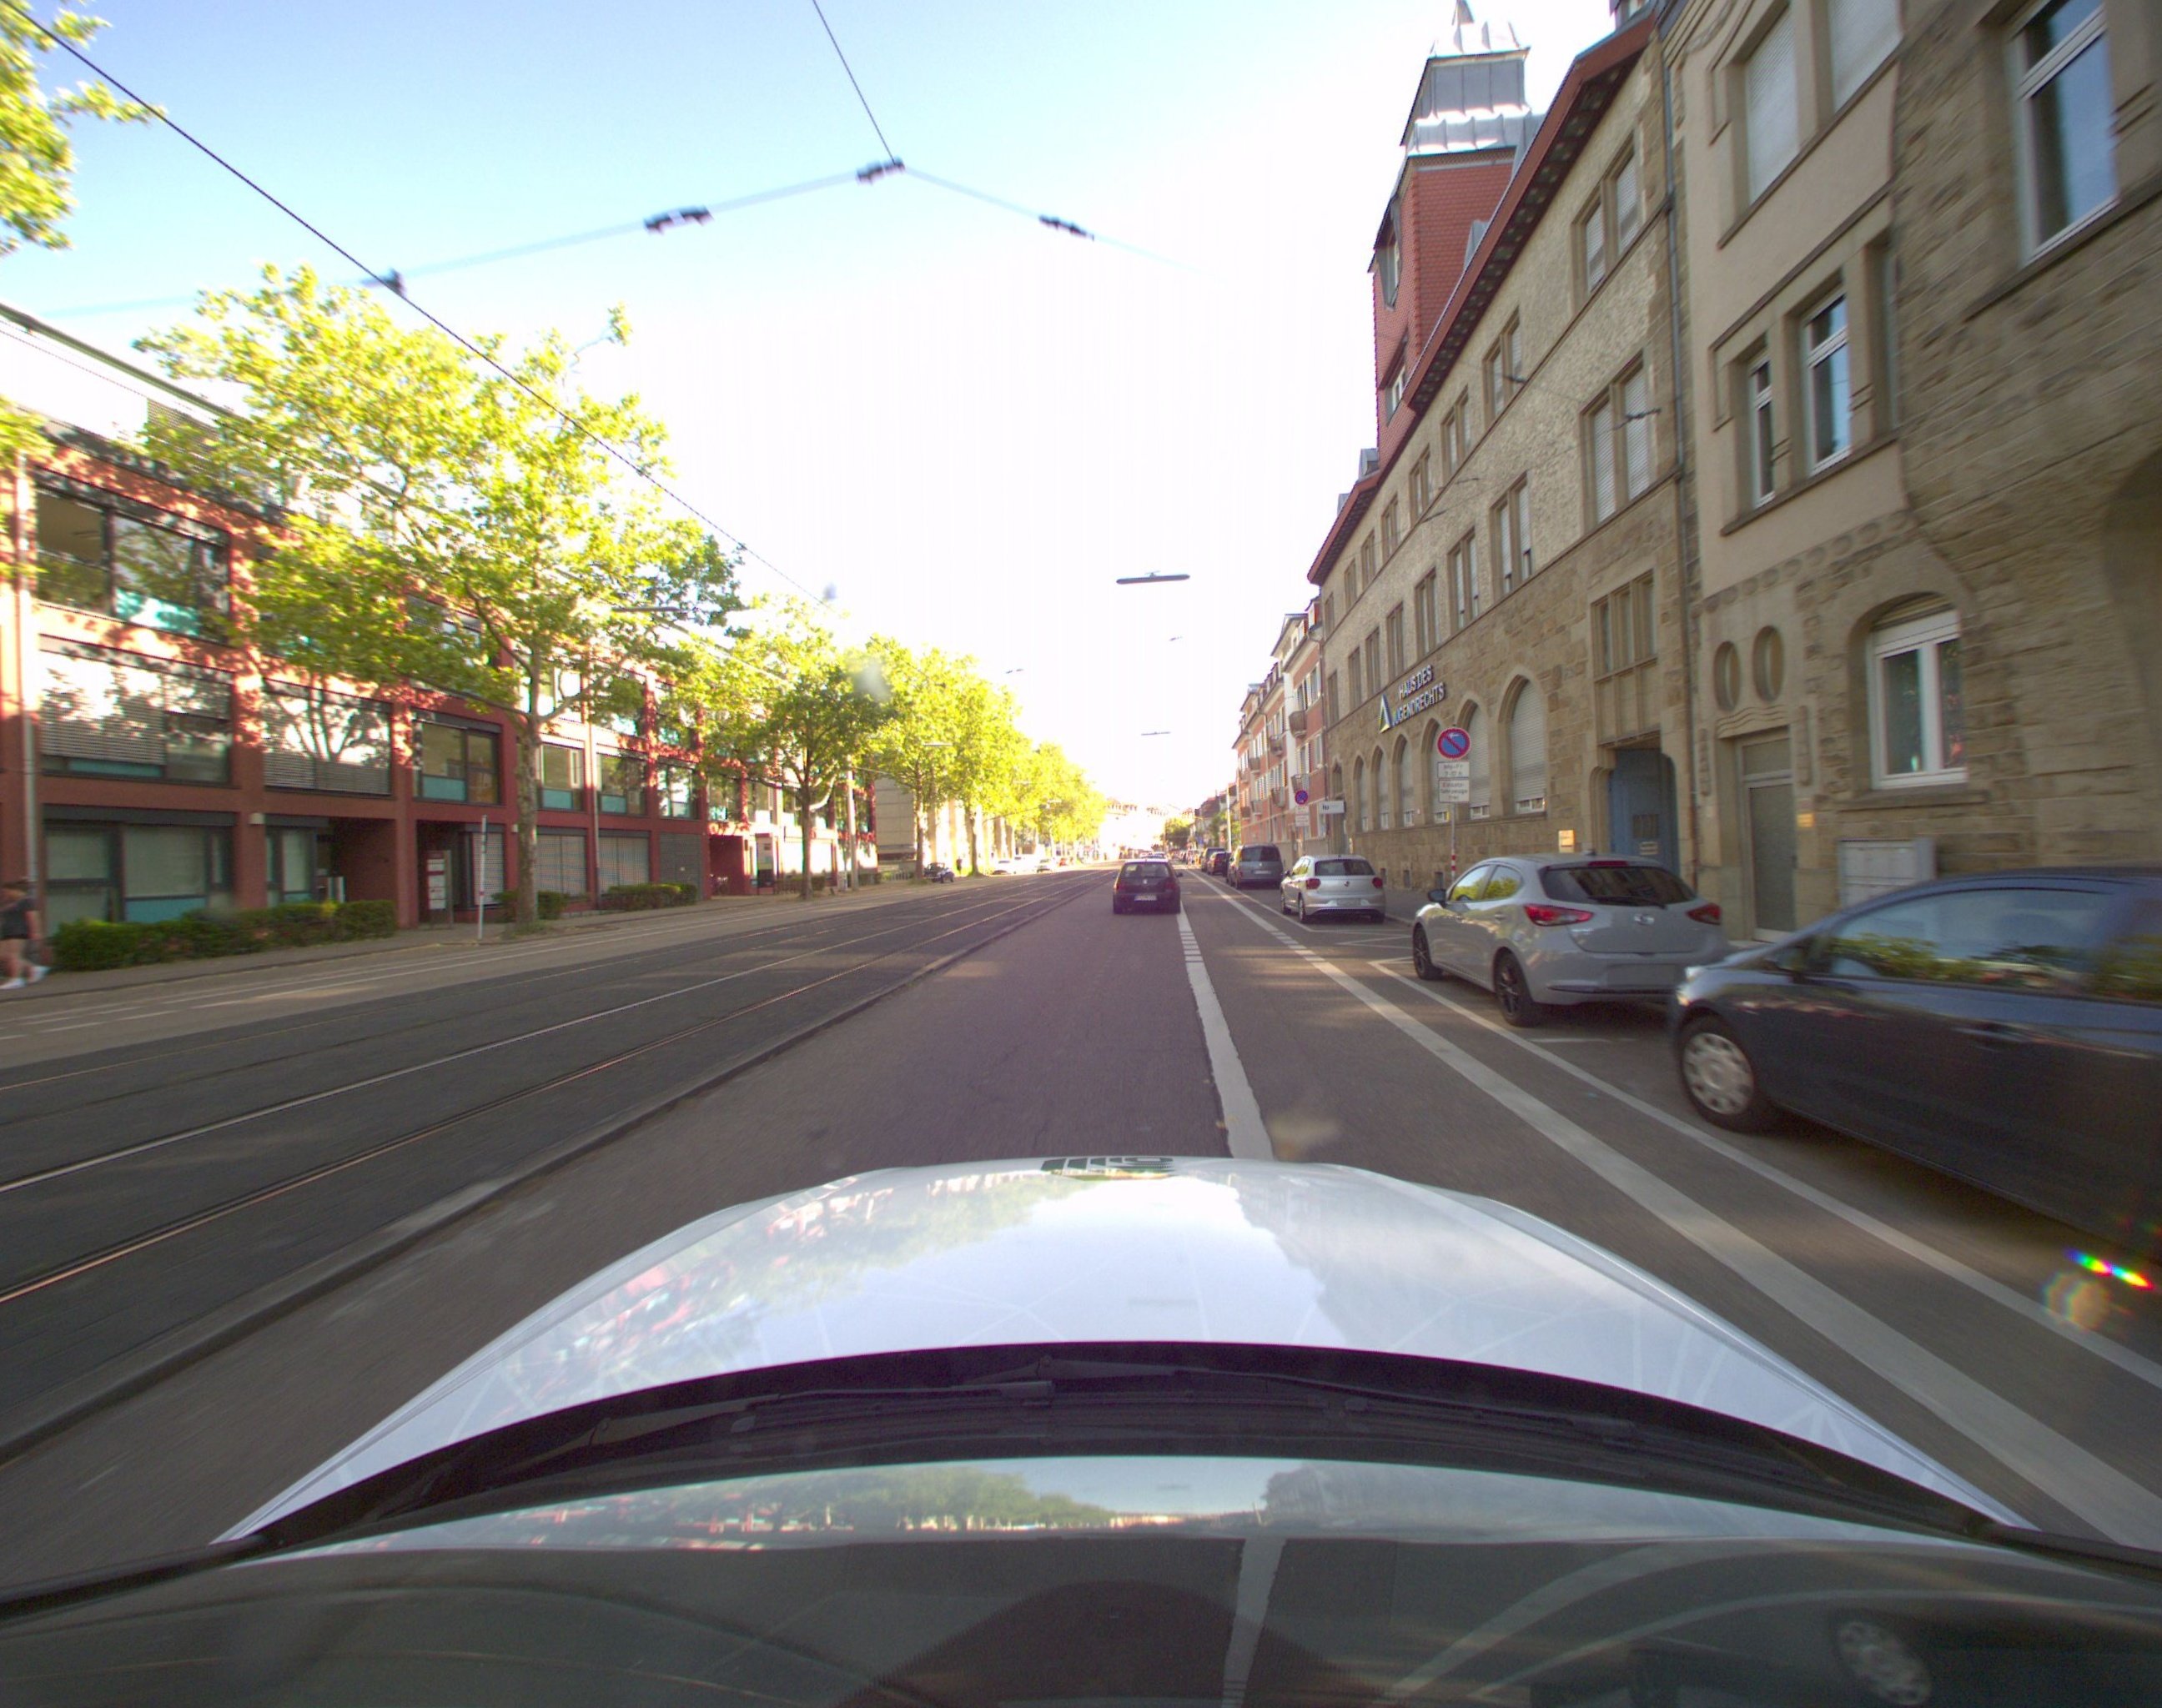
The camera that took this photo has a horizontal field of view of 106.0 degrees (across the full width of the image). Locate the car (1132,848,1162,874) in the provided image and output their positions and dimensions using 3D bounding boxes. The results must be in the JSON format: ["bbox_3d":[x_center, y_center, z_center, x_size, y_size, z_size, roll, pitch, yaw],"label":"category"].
[{"bbox_3d":[4.211,0.409,51.657,1.740,1.537,3.898,-3,0,6],"label":"car"}]

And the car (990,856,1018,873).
[{"bbox_3d":[-7.762,1.080,82.422,2.002,1.572,4.699,-1,1,4],"label":"car"}]

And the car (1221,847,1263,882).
[{"bbox_3d":[7.479,0.450,38.142,1.623,1.511,3.724,-1,0,7],"label":"car"}]

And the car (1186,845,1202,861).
[{"bbox_3d":[13.362,-0.101,96.702,1.750,1.837,3.553,-1,0,6],"label":"car"}]

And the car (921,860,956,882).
[{"bbox_3d":[-10.182,1.217,58.313,1.499,1.454,3.470,-2,0,7],"label":"car"}]

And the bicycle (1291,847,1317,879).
[{"bbox_3d":[8.518,0.324,31.184,0.512,1.139,2.262,-4,0,5],"label":"bicycle"}]

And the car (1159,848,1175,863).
[{"bbox_3d":[9.464,0.135,89.506,1.628,1.472,3.735,-3,0,6],"label":"car"}]

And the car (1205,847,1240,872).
[{"bbox_3d":[9.158,0.325,53.032,1.746,1.511,4.767,-1,0,3],"label":"car"}]

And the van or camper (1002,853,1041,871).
[{"bbox_3d":[-6.720,0.882,92.740,2.041,1.949,5.220,-1,1,25],"label":"van or camper"}]

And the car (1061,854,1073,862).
[{"bbox_3d":[-2.414,0.721,142.591,1.783,1.465,3.842,0,0,6],"label":"car"}]

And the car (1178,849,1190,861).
[{"bbox_3d":[17.589,0.170,138.938,1.808,1.799,4.006,-2,0,6],"label":"car"}]

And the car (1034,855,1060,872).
[{"bbox_3d":[-3.387,0.956,82.768,1.742,1.518,4.082,-5,0,9],"label":"car"}]

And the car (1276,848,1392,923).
[{"bbox_3d":[5.598,0.623,18.524,1.705,1.500,4.233,-1,0,6],"label":"car"}]

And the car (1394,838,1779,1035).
[{"bbox_3d":[4.675,0.625,8.359,1.743,1.500,4.204,-1,0,7],"label":"car"}]

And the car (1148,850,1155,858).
[{"bbox_3d":[16.710,-0.014,192.490,1.660,1.698,3.656,-2,0,6],"label":"car"}]

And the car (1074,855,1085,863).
[{"bbox_3d":[-0.270,0.978,162.105,1.875,1.669,3.809,-1,1,5],"label":"car"}]

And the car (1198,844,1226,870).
[{"bbox_3d":[9.885,0.210,61.598,1.695,1.810,4.276,-1,0,4],"label":"car"}]

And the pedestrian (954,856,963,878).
[{"bbox_3d":[-10.841,1.129,72.172,0.784,1.870,0.669,-1,0,-9],"label":"pedestrian"}]

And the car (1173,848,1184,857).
[{"bbox_3d":[16.032,-0.201,134.281,1.572,1.375,4.006,-3,0,6],"label":"car"}]

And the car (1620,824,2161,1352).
[{"bbox_3d":[3.912,0.638,2.854,1.647,1.482,4.006,-2,0,5],"label":"car"}]

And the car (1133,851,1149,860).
[{"bbox_3d":[14.935,0.325,202.530,3.971,2.013,2.001,-1,0,2],"label":"car"}]

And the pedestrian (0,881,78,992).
[{"bbox_3d":[-17.304,1.323,13.320,0.622,1.718,0.902,-1,0,4],"label":"pedestrian"}]

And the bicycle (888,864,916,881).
[{"bbox_3d":[-14.306,1.473,65.068,1.998,1.278,0.665,-1,0,5],"label":"bicycle"}]

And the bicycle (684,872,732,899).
[{"bbox_3d":[-18.537,1.562,40.489,2.053,1.272,0.619,-1,0,3],"label":"bicycle"}]

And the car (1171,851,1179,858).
[{"bbox_3d":[20.753,0.106,180.338,1.660,1.597,3.656,-2,0,6],"label":"car"}]

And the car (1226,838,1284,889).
[{"bbox_3d":[7.057,0.352,33.446,1.744,1.855,4.823,-2,0,6],"label":"car"}]

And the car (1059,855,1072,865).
[{"bbox_3d":[-2.513,1.035,133.393,1.562,1.533,3.578,-3,-1,6],"label":"car"}]

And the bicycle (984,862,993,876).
[{"bbox_3d":[-8.742,1.401,76.887,0.579,1.209,1.653,-1,0,0],"label":"bicycle"}]

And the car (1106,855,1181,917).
[{"bbox_3d":[1.657,0.769,21.708,1.741,1.375,4.005,-3,0,4],"label":"car"}]
